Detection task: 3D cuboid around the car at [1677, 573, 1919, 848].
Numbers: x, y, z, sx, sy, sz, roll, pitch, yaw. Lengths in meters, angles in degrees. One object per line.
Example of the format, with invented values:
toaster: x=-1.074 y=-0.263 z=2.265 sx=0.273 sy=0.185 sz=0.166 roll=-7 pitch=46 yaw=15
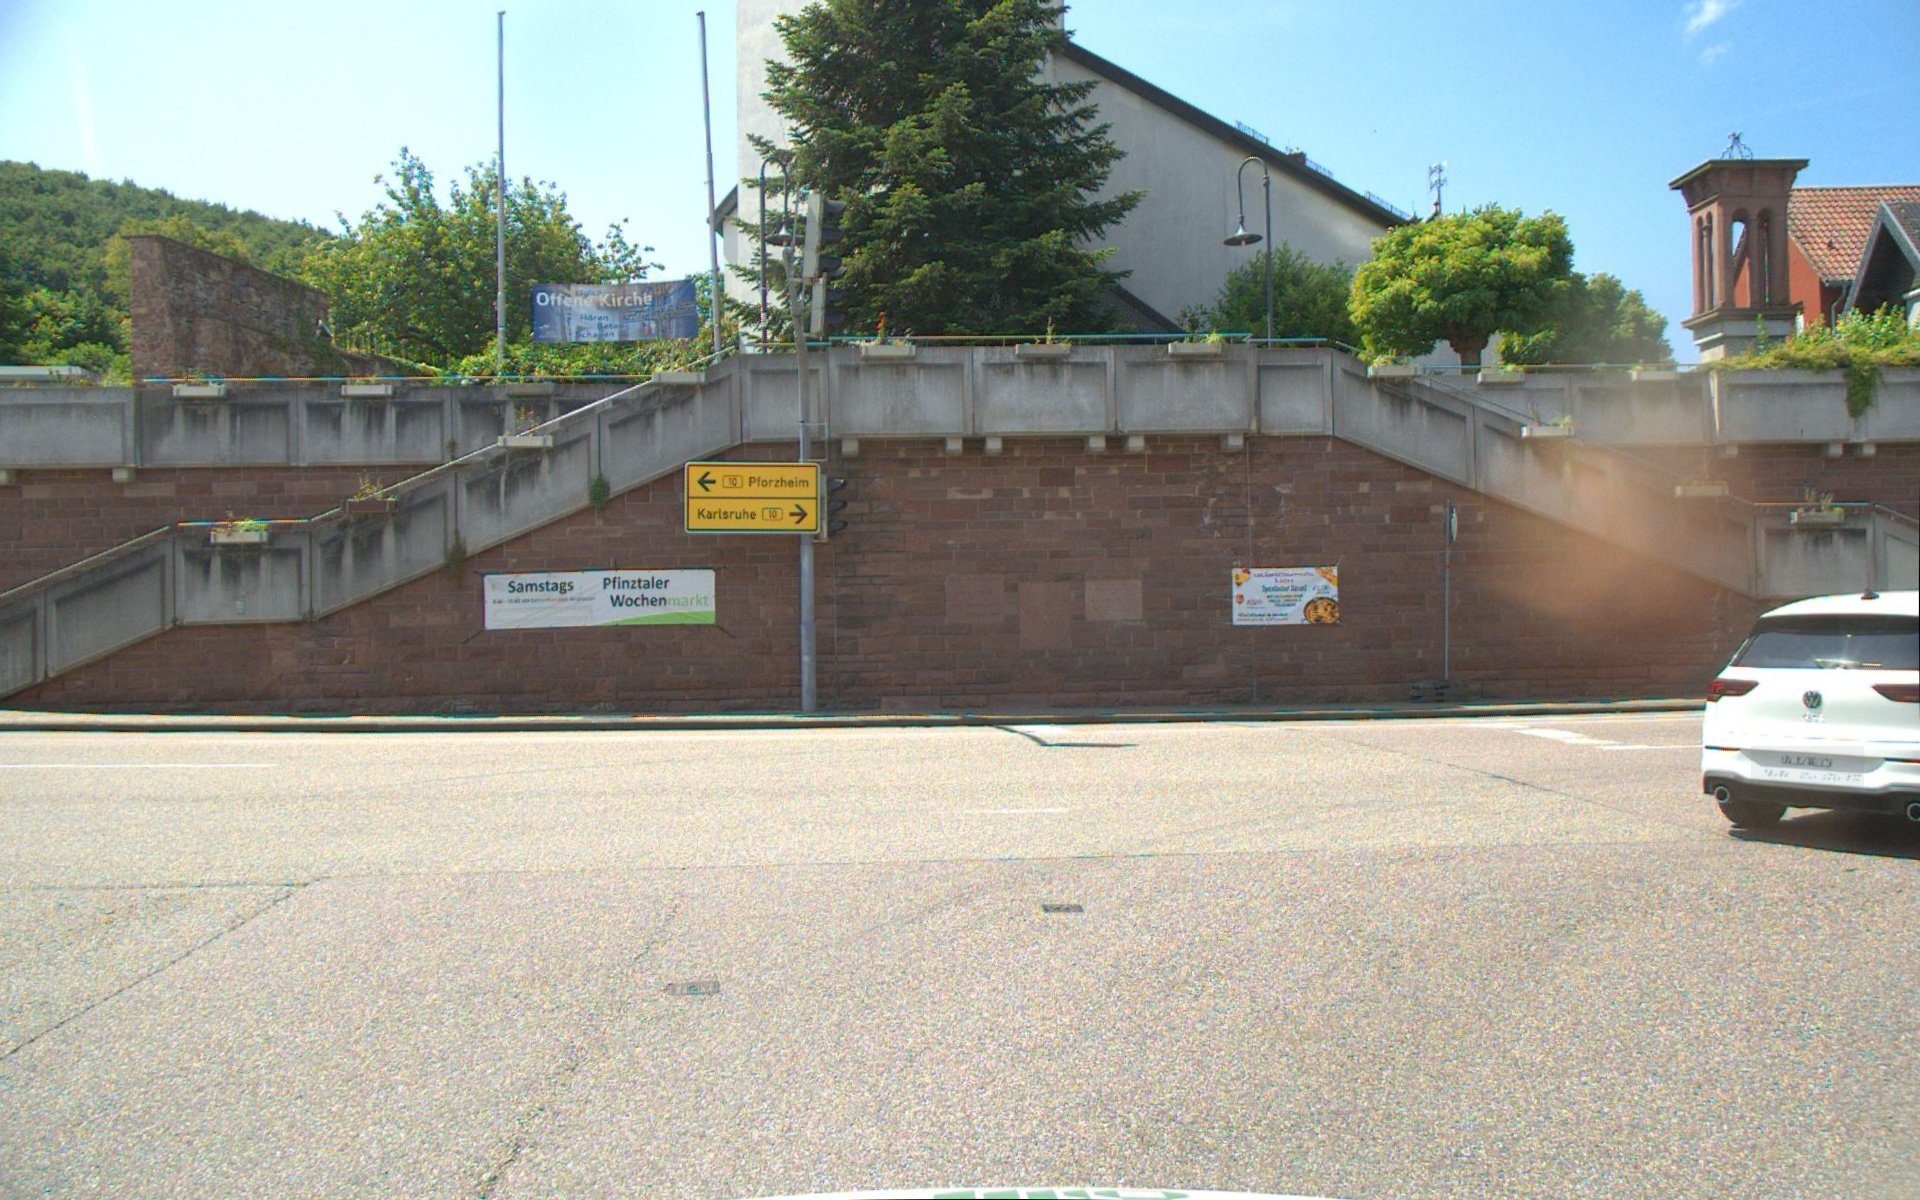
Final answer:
car: x=6.403 y=0.589 z=10.471 sx=3.821 sy=1.484 sz=1.765 roll=-1 pitch=-1 yaw=-37
